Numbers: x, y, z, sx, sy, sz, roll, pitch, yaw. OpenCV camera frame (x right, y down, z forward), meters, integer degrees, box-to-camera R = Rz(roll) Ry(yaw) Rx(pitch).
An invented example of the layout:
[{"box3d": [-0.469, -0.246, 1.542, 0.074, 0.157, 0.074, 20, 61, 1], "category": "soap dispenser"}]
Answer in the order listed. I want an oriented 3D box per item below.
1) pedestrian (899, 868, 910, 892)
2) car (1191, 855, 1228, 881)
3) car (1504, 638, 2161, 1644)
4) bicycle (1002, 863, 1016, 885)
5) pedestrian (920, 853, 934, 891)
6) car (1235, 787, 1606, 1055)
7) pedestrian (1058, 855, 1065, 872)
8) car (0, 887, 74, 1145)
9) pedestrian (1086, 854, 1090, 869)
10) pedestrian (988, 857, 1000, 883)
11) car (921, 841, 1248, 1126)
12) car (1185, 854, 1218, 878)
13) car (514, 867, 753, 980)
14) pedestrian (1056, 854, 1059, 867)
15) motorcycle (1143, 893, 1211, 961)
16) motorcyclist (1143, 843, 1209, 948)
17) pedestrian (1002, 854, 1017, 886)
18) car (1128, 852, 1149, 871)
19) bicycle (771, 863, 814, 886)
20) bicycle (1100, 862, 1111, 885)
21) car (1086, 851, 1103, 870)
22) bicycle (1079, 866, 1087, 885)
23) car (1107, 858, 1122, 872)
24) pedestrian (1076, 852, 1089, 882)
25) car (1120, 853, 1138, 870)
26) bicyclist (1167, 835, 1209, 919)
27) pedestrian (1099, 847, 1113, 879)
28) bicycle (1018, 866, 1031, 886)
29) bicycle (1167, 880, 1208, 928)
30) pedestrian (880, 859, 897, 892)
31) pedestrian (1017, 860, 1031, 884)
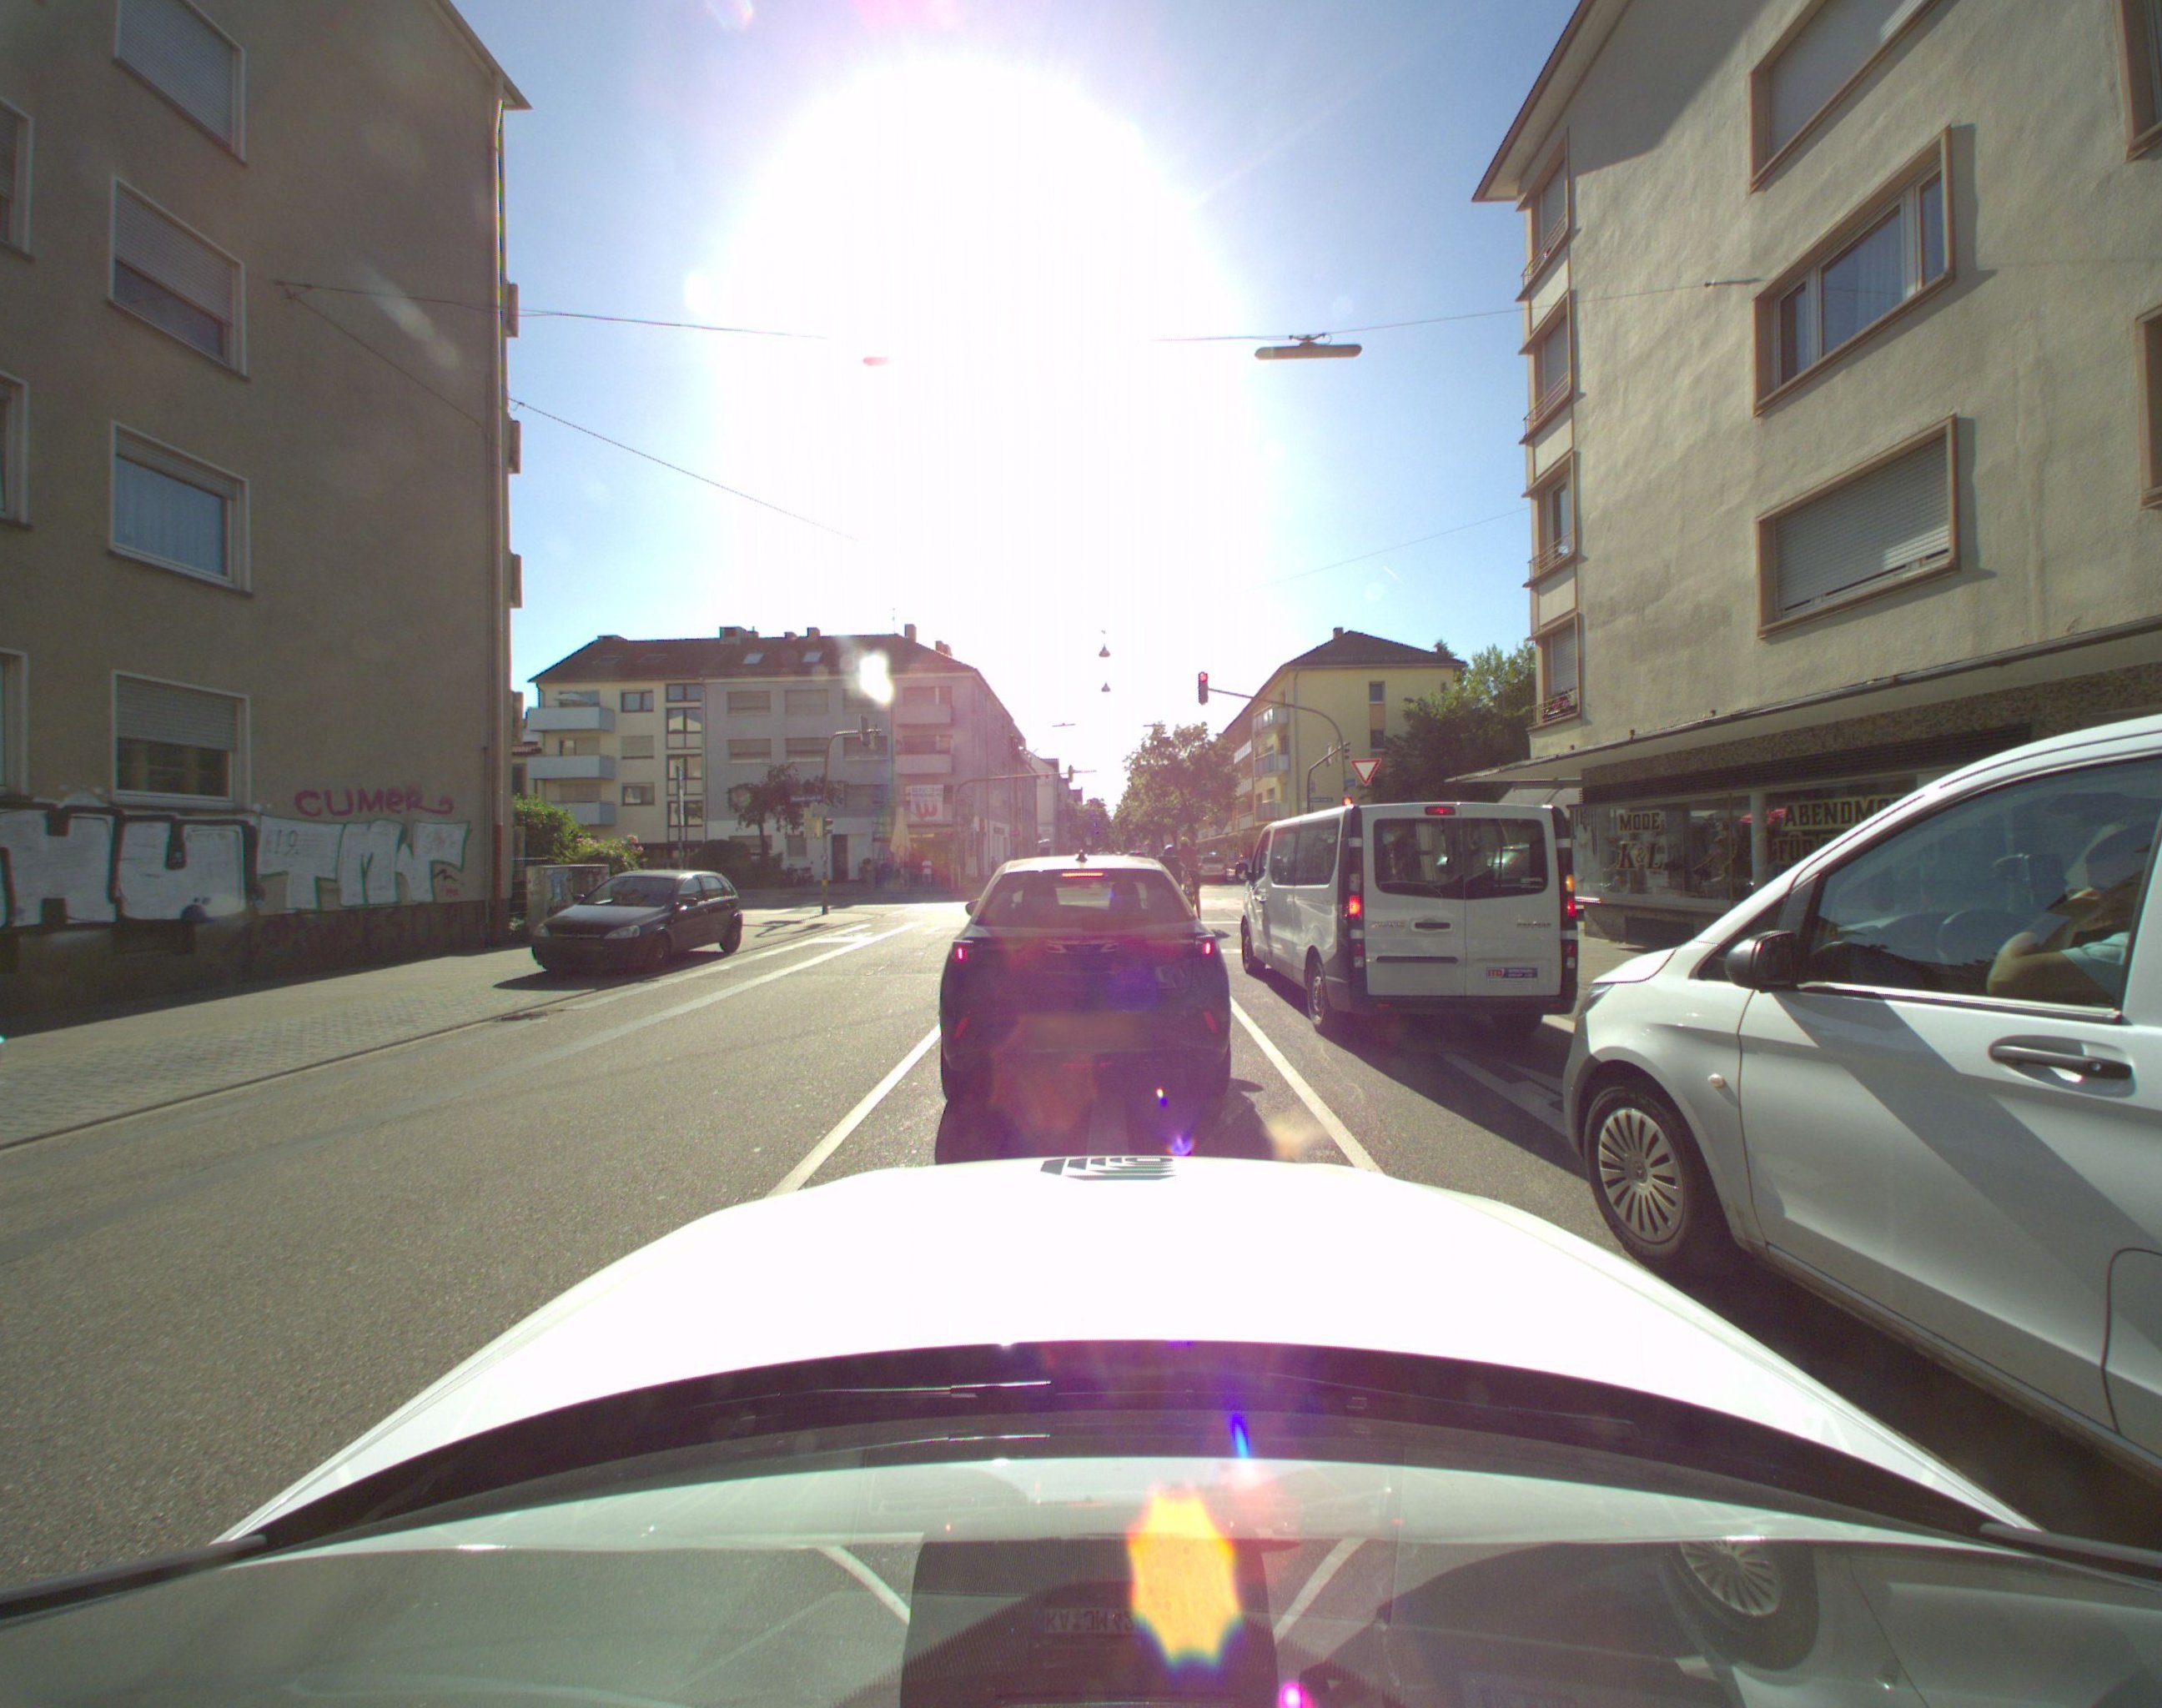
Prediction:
[{"box3d": [-8.179, 1.189, 37.738, 0.354, 1.092, 0.461, -1, 0, -1], "category": "pedestrian"}, {"box3d": [7.404, 0.770, 47.223, 1.628, 1.433, 3.958, -1, 0, 2], "category": "car"}, {"box3d": [2.923, 0.523, 1.265, 1.831, 1.869, 4.993, -1, 0, -1], "category": "car"}, {"box3d": [-3.905, 1.054, 44.151, 0.520, 1.147, 2.283, -1, 0, 0], "category": "bicycle"}, {"box3d": [-7.266, 0.837, 38.393, 0.560, 1.775, 0.582, -1, 0, -7], "category": "pedestrian"}, {"box3d": [2.986, 0.493, 8.512, 1.986, 1.979, 4.897, 0, 0, 2], "category": "car"}, {"box3d": [-1.882, 0.935, 79.214, 0.568, 1.690, 0.588, -1, 0, 1], "category": "pedestrian"}, {"box3d": [-7.138, 0.922, 2.607, 1.711, 1.465, 4.817, 2, 0, 1], "category": "car"}, {"box3d": [0.828, 0.853, 93.597, 0.486, 1.690, 0.588, -1, 0, 1], "category": "pedestrian"}, {"box3d": [-5.096, 0.920, 47.748, 0.615, 1.521, 0.724, -1, 0, -1], "category": "pedestrian"}, {"box3d": [0.026, 0.709, 6.459, 1.765, 1.530, 3.999, -1, 0, 0], "category": "car"}, {"box3d": [7.629, 0.763, 51.826, 1.628, 1.433, 4.002, -1, 0, 2], "category": "car"}, {"box3d": [-6.783, 0.968, 12.834, 1.610, 1.425, 3.711, 1, 0, 1], "category": "car"}, {"box3d": [-3.125, 0.898, 107.278, 0.400, 1.675, 0.418, -1, 0, 1], "category": "pedestrian"}, {"box3d": [1.404, 1.062, 12.236, 0.822, 0.845, 1.885, -1, 0, 1], "category": "motorcycle"}, {"box3d": [1.423, 0.607, 12.439, 0.861, 1.502, 1.160, -1, 0, 1], "category": "motorcyclist"}, {"box3d": [-3.863, 0.841, 43.882, 0.704, 1.678, 0.802, -1, 0, 0], "category": "pedestrian"}, {"box3d": [5.346, 0.664, 76.314, 1.894, 1.728, 4.076, -1, 0, 3], "category": "car"}, {"box3d": [-15.349, 1.084, 43.315, 2.103, 1.172, 0.735, -1, 0, -22], "category": "bicycle"}, {"box3d": [1.331, 1.044, 43.822, 0.520, 1.147, 2.170, -1, 0, 0], "category": "bicycle"}, {"box3d": [1.562, 0.737, 91.908, 1.848, 2.013, 3.882, -1, 0, 2], "category": "car"}, {"box3d": [0.103, 1.153, 43.999, 0.442, 0.992, 2.068, -1, 0, 0], "category": "bicycle"}, {"box3d": [4.422, 1.453, 107.220, 1.817, 1.728, 4.004, -1, 0, 3], "category": "car"}, {"box3d": [0.086, 0.704, 43.887, 0.678, 1.606, 0.762, -1, 0, 0], "category": "pedestrian"}, {"box3d": [5.261, 0.819, 89.270, 1.894, 1.728, 4.003, -1, 0, 2], "category": "car"}, {"box3d": [2.278, 0.481, 17.535, 0.687, 1.712, 1.414, -1, 0, 0], "category": "bicyclist"}, {"box3d": [1.359, 0.487, 43.738, 0.704, 1.701, 0.802, -1, 0, 0], "category": "pedestrian"}, {"box3d": [-3.046, 1.189, 44.002, 0.520, 0.992, 2.339, -1, 0, 0], "category": "bicycle"}, {"box3d": [2.286, 1.049, 17.691, 0.575, 0.904, 2.301, -1, 0, 0], "category": "bicycle"}, {"box3d": [-8.936, 0.994, 37.780, 0.582, 1.521, 0.649, -1, 0, -1], "category": "pedestrian"}, {"box3d": [-3.060, 0.955, 43.803, 0.704, 1.253, 0.802, -1, 0, 0], "category": "pedestrian"}]
